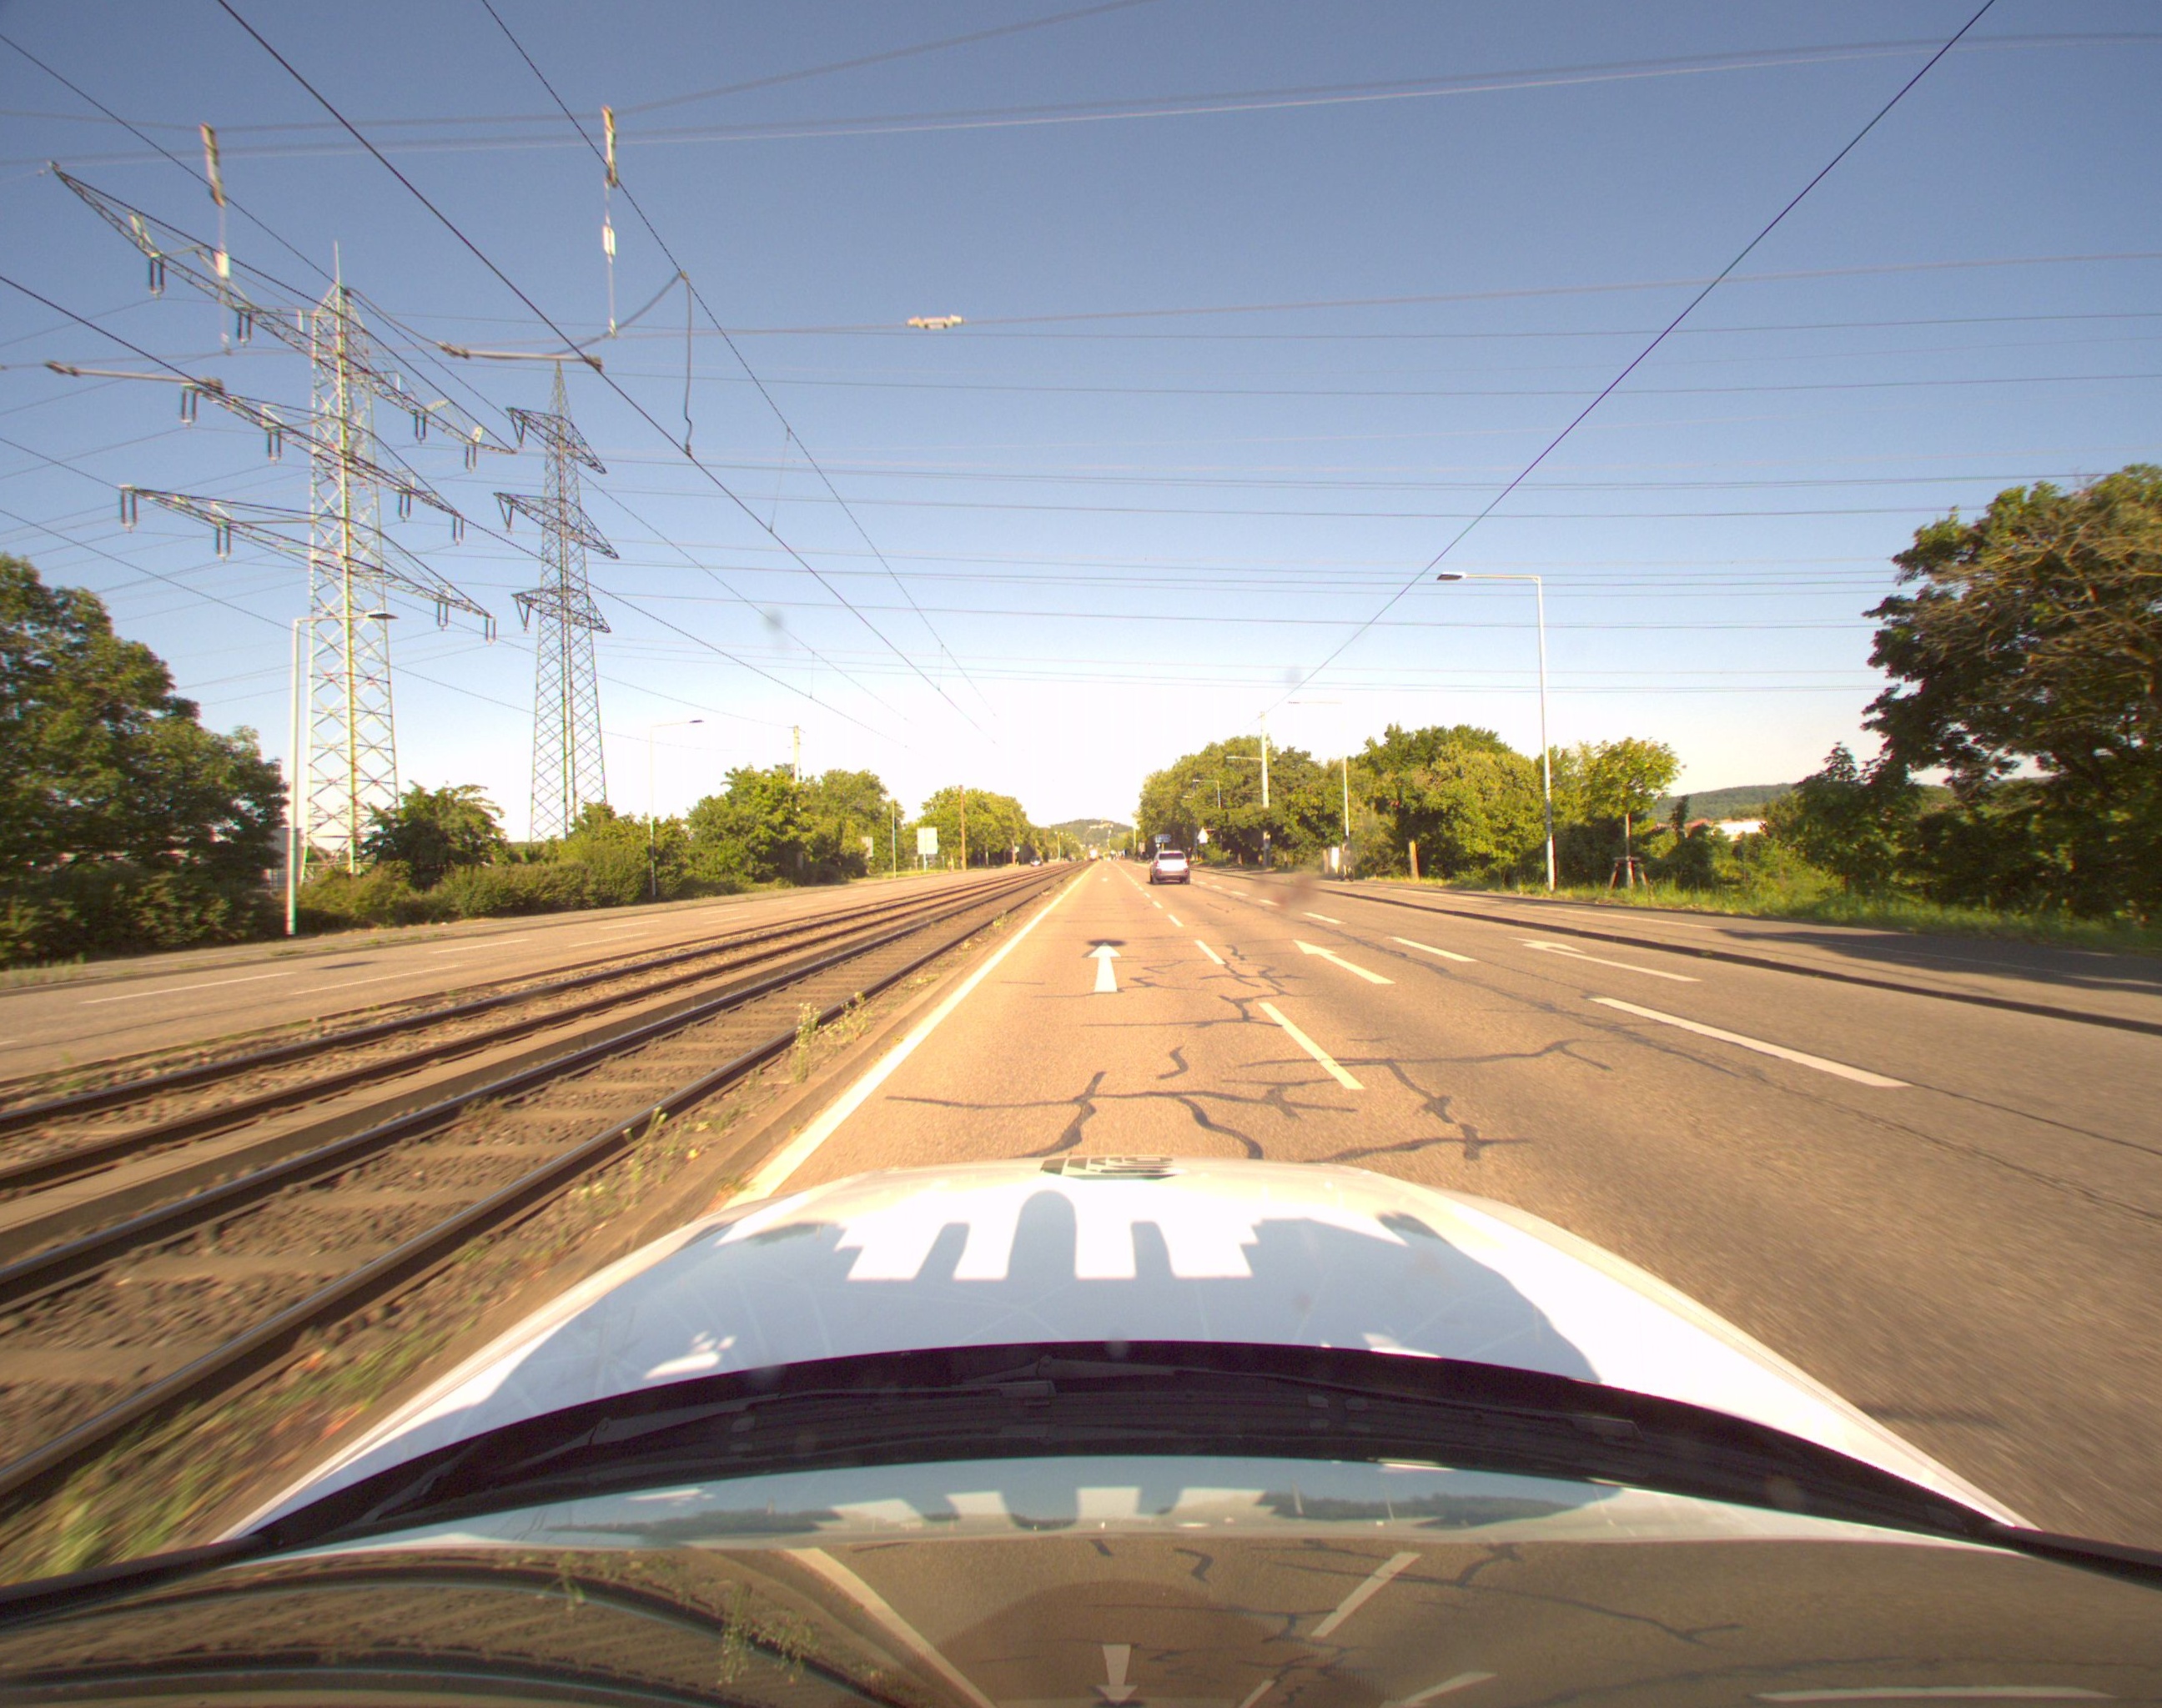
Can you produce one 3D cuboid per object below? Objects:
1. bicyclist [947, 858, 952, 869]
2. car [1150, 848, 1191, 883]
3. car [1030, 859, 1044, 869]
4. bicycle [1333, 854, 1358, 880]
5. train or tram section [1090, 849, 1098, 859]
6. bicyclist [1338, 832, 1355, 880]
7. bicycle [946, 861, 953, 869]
[{"bbox_3d":[-18.676,1.311,115.727,0.588,1.528,0.906,-2,-1,1],"label":"bicyclist"},{"bbox_3d":[4.537,0.581,41.651,1.880,1.693,4.260,-1,-1,4],"label":"car"},{"bbox_3d":[-8.263,1.897,154.131,1.985,1.923,4.864,-2,-1,3],"label":"car"},{"bbox_3d":[11.324,0.554,34.904,0.525,1.060,1.973,0,-1,3],"label":"bicycle"},{"bbox_3d":[4.018,0.050,256.674,2.302,3.217,9.478,0,-1,2],"label":"train or tram section"},{"bbox_3d":[11.301,0.079,34.716,0.525,2.017,0.730,0,-1,3],"label":"bicyclist"},{"bbox_3d":[-18.674,1.581,115.633,0.588,1.022,2.186,-2,-1,1],"label":"bicycle"}]
